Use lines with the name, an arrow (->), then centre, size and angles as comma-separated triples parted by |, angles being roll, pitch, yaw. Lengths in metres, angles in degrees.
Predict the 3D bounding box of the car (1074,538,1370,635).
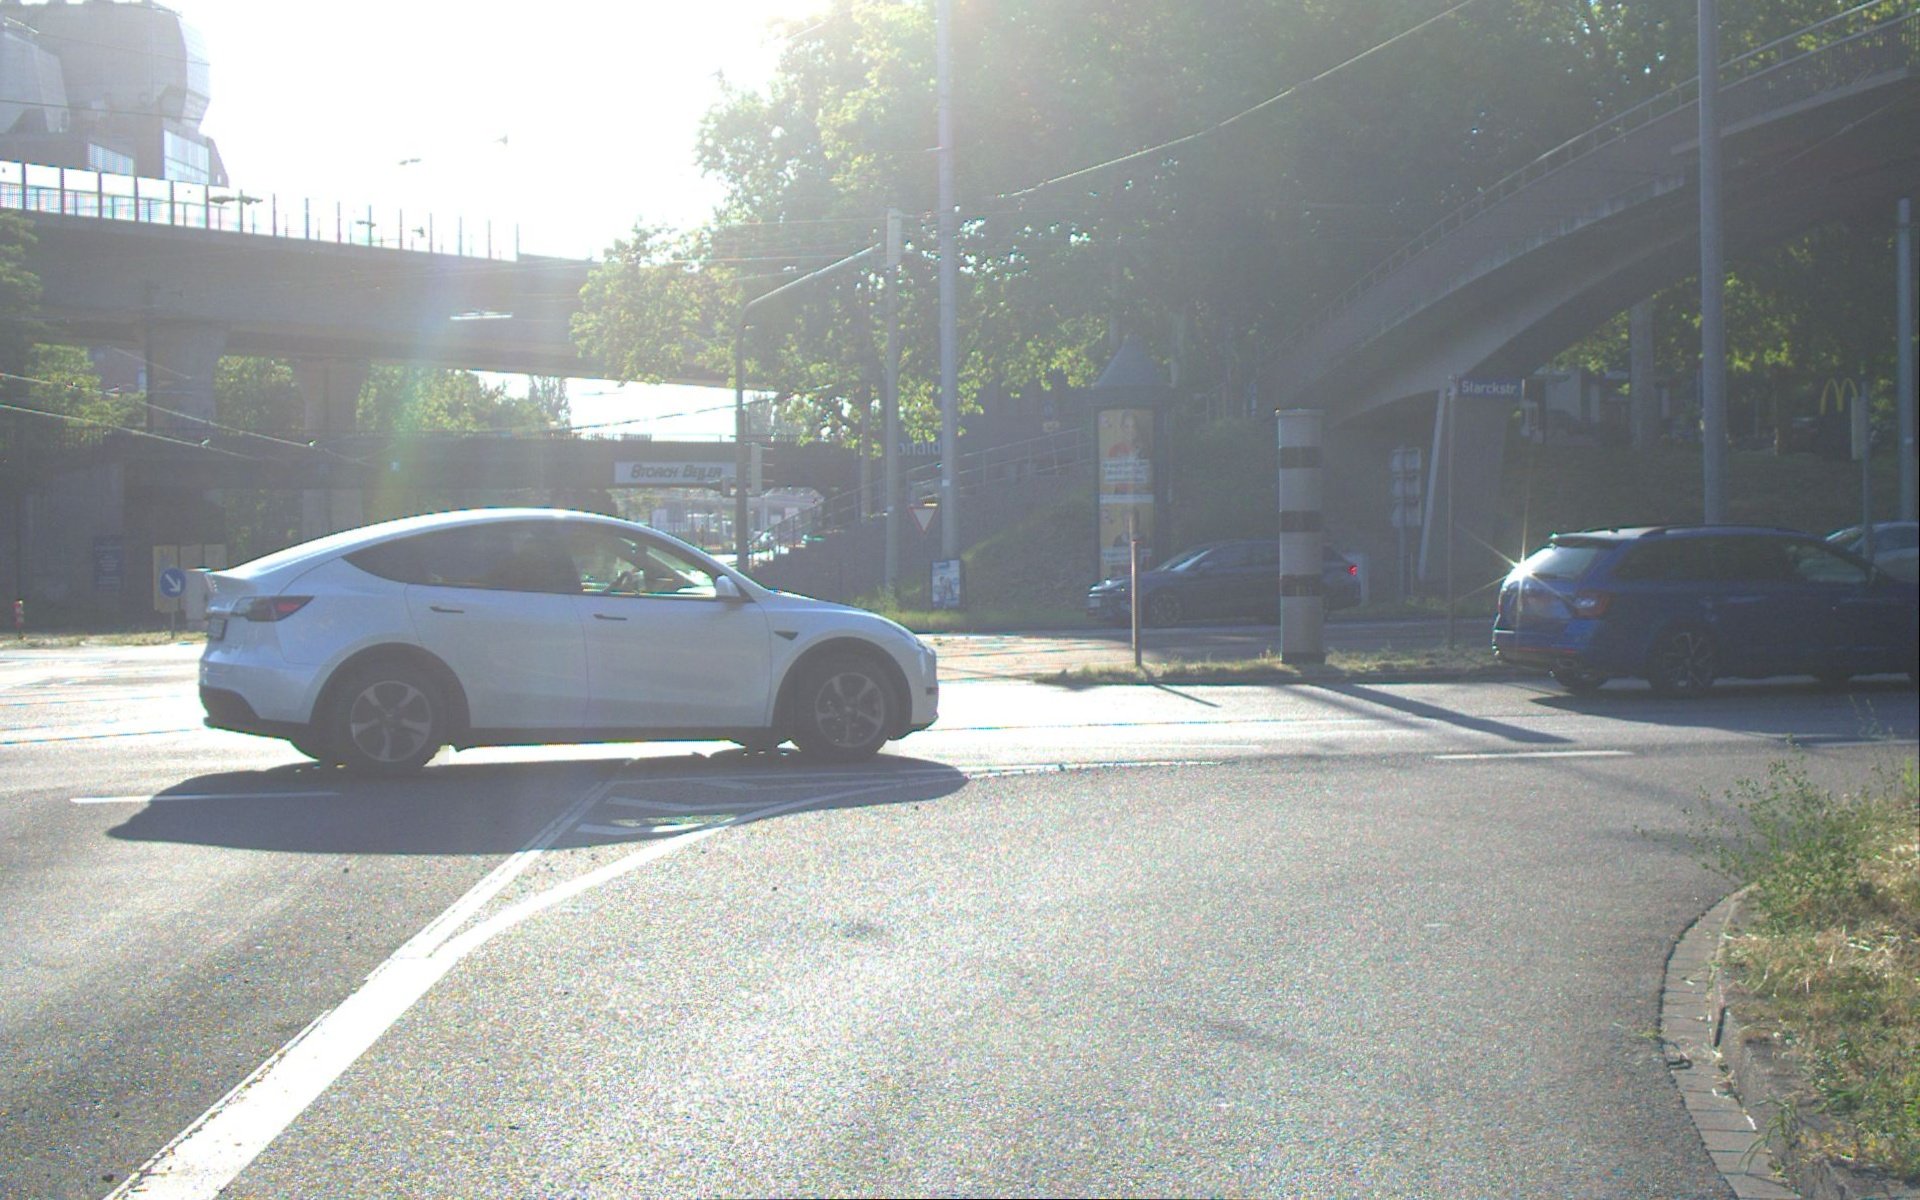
car -> 4.342, -0.223, 57.086 | 4.574, 1.569, 1.694 | 0, 1, -17

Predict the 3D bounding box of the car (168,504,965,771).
car -> -2.493, 0.209, 21.847 | 4.750, 1.569, 1.694 | 0, 1, -21

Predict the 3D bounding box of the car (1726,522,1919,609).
car -> 15.932, -0.615, 61.598 | 3.993, 1.507, 1.694 | 0, 1, -19

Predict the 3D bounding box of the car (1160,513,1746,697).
car -> 4.130, 0.020, 28.784 | 4.609, 1.454, 1.694 | 0, 1, -21
